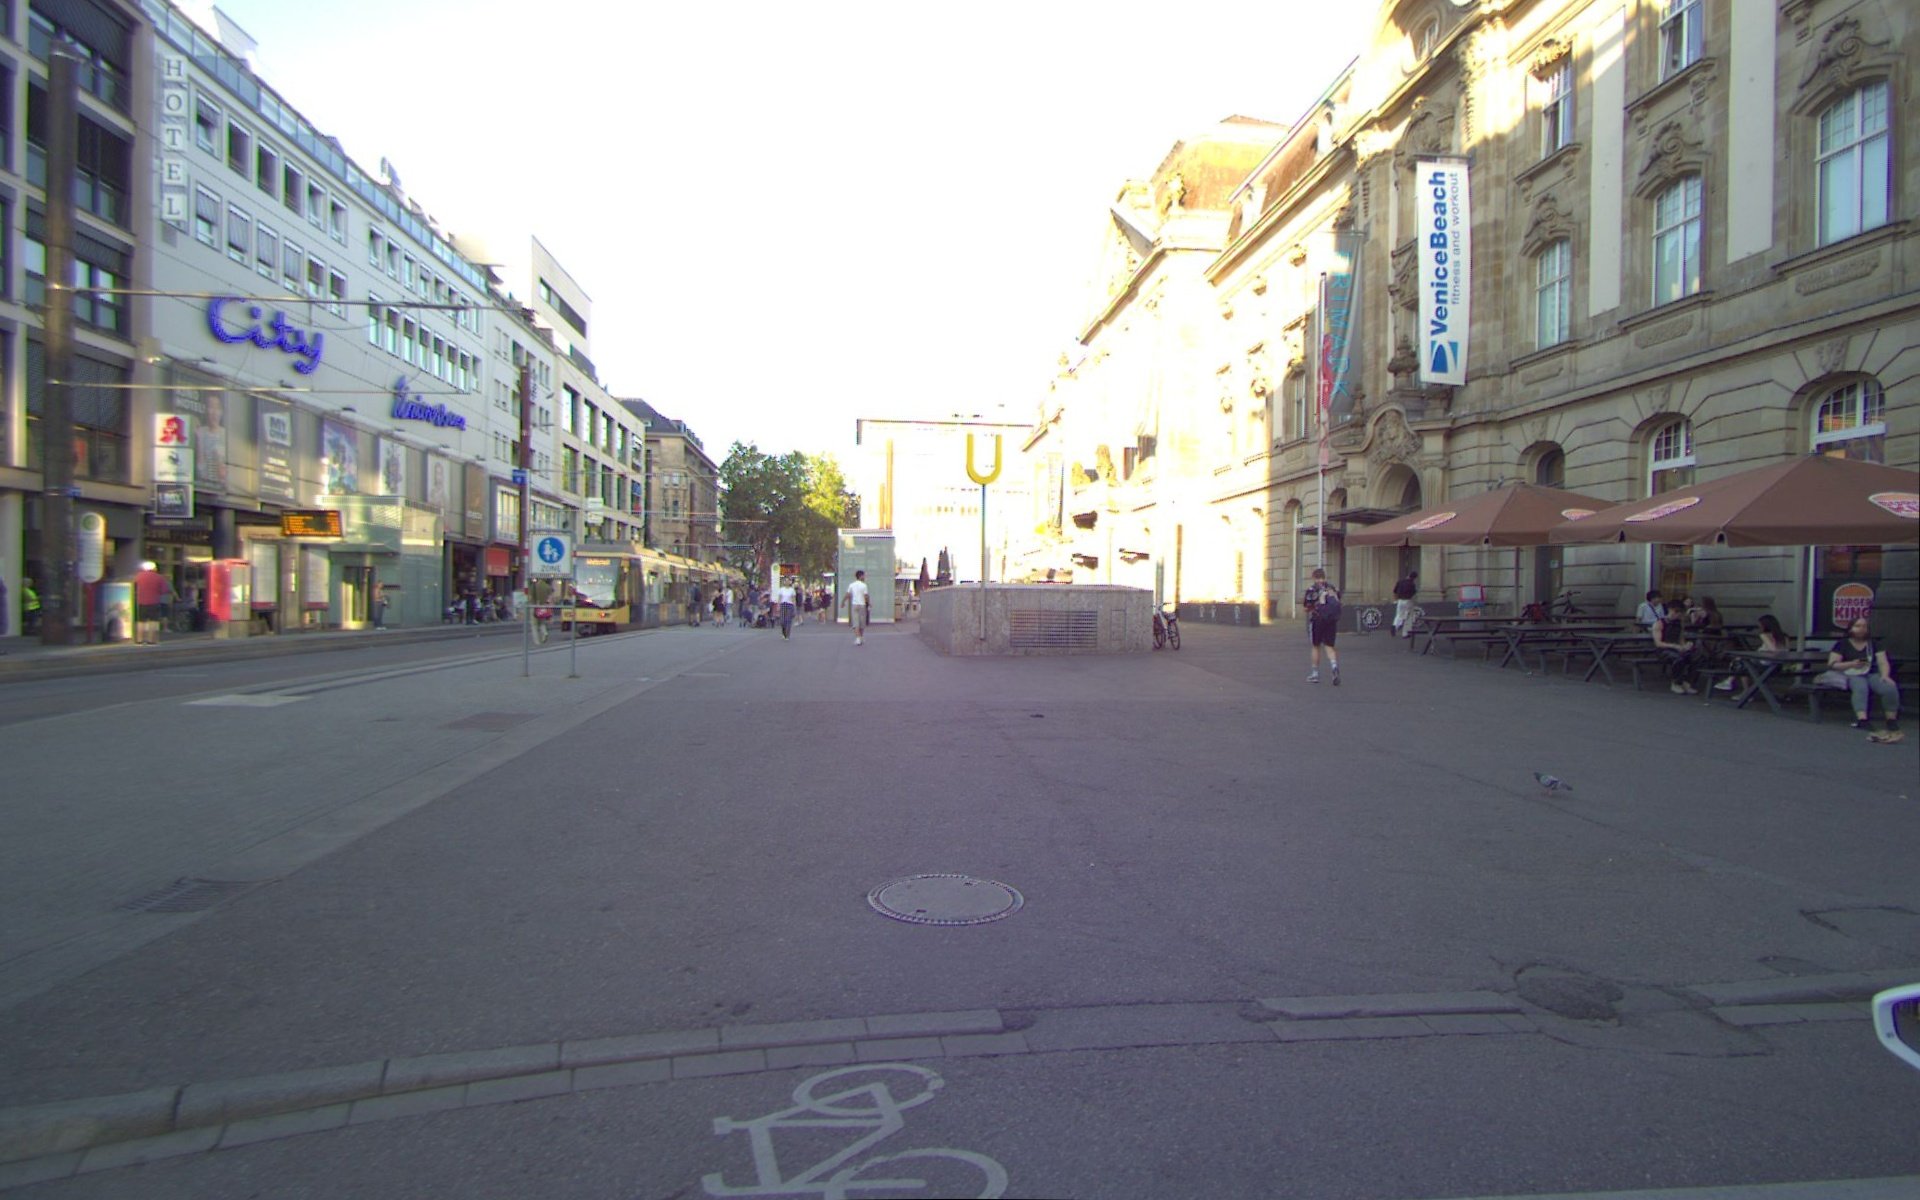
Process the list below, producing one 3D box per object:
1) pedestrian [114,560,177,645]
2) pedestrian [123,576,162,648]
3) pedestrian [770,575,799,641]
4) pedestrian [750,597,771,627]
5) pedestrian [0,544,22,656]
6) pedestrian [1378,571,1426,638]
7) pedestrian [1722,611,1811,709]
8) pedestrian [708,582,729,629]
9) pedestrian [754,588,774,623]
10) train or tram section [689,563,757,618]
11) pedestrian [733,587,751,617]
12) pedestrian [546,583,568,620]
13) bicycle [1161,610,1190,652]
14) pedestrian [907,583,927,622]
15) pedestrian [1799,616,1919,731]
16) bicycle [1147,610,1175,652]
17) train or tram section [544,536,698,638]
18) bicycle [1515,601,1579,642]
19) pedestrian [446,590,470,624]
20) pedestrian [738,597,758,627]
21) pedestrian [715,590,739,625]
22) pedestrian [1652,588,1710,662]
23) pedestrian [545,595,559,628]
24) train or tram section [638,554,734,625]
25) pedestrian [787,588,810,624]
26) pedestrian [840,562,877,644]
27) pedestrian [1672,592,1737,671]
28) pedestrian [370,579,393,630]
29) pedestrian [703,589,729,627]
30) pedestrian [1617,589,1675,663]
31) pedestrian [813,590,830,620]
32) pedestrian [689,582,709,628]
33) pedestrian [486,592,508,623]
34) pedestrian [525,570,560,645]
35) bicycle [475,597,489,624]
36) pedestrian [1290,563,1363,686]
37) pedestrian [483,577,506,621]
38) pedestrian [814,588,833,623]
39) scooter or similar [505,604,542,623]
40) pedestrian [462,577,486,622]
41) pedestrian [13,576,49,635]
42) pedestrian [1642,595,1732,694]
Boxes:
[{"bbox_3d":[-16.961,0.057,20.934,0.703,1.720,0.784,0,0,-12],"label":"pedestrian"},{"bbox_3d":[-18.822,0.277,23.136,0.598,1.609,0.623,1,0,-30],"label":"pedestrian"},{"bbox_3d":[-4.977,0.228,28.561,0.761,1.848,0.938,-1,0,-9],"label":"pedestrian"},{"bbox_3d":[-8.196,0.488,41.245,0.780,1.238,0.768,1,1,-9],"label":"pedestrian"},{"bbox_3d":[-17.127,0.004,17.616,0.703,1.950,0.708,0,0,-11],"label":"pedestrian"},{"bbox_3d":[10.811,0.097,24.555,0.837,1.587,0.846,2,3,40],"label":"pedestrian"},{"bbox_3d":[10.930,0.798,13.640,0.604,1.243,0.701,2,3,8],"label":"pedestrian"},{"bbox_3d":[-9.579,0.214,39.863,0.725,1.848,0.816,1,0,-20],"label":"pedestrian"},{"bbox_3d":[-9.601,0.282,49.253,0.779,1.683,0.769,1,1,6],"label":"pedestrian"},{"bbox_3d":[-16.153,-0.640,69.520,2.757,3.364,14.493,1,0,-6],"label":"train or tram section"},{"bbox_3d":[-12.300,0.110,56.601,0.753,1.683,0.795,1,1,6],"label":"pedestrian"},{"bbox_3d":[-19.290,0.085,48.087,0.761,1.748,0.709,0,0,-6],"label":"pedestrian"},{"bbox_3d":[4.715,0.668,22.030,0.310,0.879,0.999,0,1,-7],"label":"bicycle"},{"bbox_3d":[-2.091,0.109,48.876,0.760,1.848,0.850,1,1,15],"label":"pedestrian"},{"bbox_3d":[10.891,0.865,12.144,0.765,1.260,0.828,2,3,8],"label":"pedestrian"},{"bbox_3d":[4.396,0.660,21.995,0.310,0.879,0.999,0,1,-7],"label":"bicycle"},{"bbox_3d":[-13.168,-0.477,40.653,2.757,3.364,14.493,1,0,-6],"label":"train or tram section"},{"bbox_3d":[13.326,0.484,22.817,1.298,0.906,0.409,0,1,-10],"label":"bicycle"},{"bbox_3d":[-20.991,0.310,42.020,0.696,1.397,0.720,0,0,-7],"label":"pedestrian"},{"bbox_3d":[-8.865,0.510,41.985,0.780,1.238,0.768,1,1,-9],"label":"pedestrian"},{"bbox_3d":[-10.850,0.360,46.836,0.754,1.600,0.794,1,1,24],"label":"pedestrian"},{"bbox_3d":[13.400,0.466,18.677,0.583,1.326,0.581,1,3,-8],"label":"pedestrian"},{"bbox_3d":[-21.675,0.620,53.335,0.592,1.750,0.607,0,0,-13],"label":"pedestrian"},{"bbox_3d":[-14.655,-0.549,55.067,2.757,3.364,14.493,1,0,-6],"label":"train or tram section"},{"bbox_3d":[-7.680,0.261,47.691,0.784,1.683,0.764,1,1,44],"label":"pedestrian"},{"bbox_3d":[-2.574,0.082,25.574,0.757,2.040,0.918,1,0,4],"label":"pedestrian"},{"bbox_3d":[13.001,0.544,17.542,0.598,1.326,0.607,1,3,-10],"label":"pedestrian"},{"bbox_3d":[-18.888,0.152,32.796,0.504,1.639,0.504,0,0,-15],"label":"pedestrian"},{"bbox_3d":[-10.393,0.349,42.754,0.754,1.600,0.794,1,1,24],"label":"pedestrian"},{"bbox_3d":[12.741,0.476,18.672,0.583,1.326,0.581,1,3,-10],"label":"pedestrian"},{"bbox_3d":[-7.917,0.294,57.258,0.779,1.683,0.769,1,1,6],"label":"pedestrian"},{"bbox_3d":[-10.530,0.200,40.521,0.725,1.848,0.816,1,0,-20],"label":"pedestrian"},{"bbox_3d":[-21.068,0.327,45.749,0.696,1.397,0.720,0,0,-7],"label":"pedestrian"},{"bbox_3d":[-10.025,0.180,24.093,0.711,1.748,0.704,1,0,-28],"label":"pedestrian"},{"bbox_3d":[-21.169,0.439,44.496,0.429,1.157,1.605,0,1,-29],"label":"bicycle"},{"bbox_3d":[5.652,0.363,15.526,0.795,1.848,0.805,0,1,-1],"label":"pedestrian"},{"bbox_3d":[-18.820,-0.028,40.615,0.702,1.748,0.768,1,0,-35],"label":"pedestrian"},{"bbox_3d":[-6.745,0.260,49.688,0.779,1.683,0.769,1,1,6],"label":"pedestrian"},{"bbox_3d":[-19.958,0.621,45.939,0.549,0.842,1.522,0,-1,33],"label":"scooter or similar"},{"bbox_3d":[-18.819,-0.014,38.899,0.703,1.748,0.767,1,0,-36],"label":"pedestrian"},{"bbox_3d":[-24.826,0.154,26.848,0.501,1.568,0.516,0,0,-14],"label":"pedestrian"},{"bbox_3d":[10.786,0.646,14.919,0.790,1.402,0.653,2,3,5],"label":"pedestrian"}]
